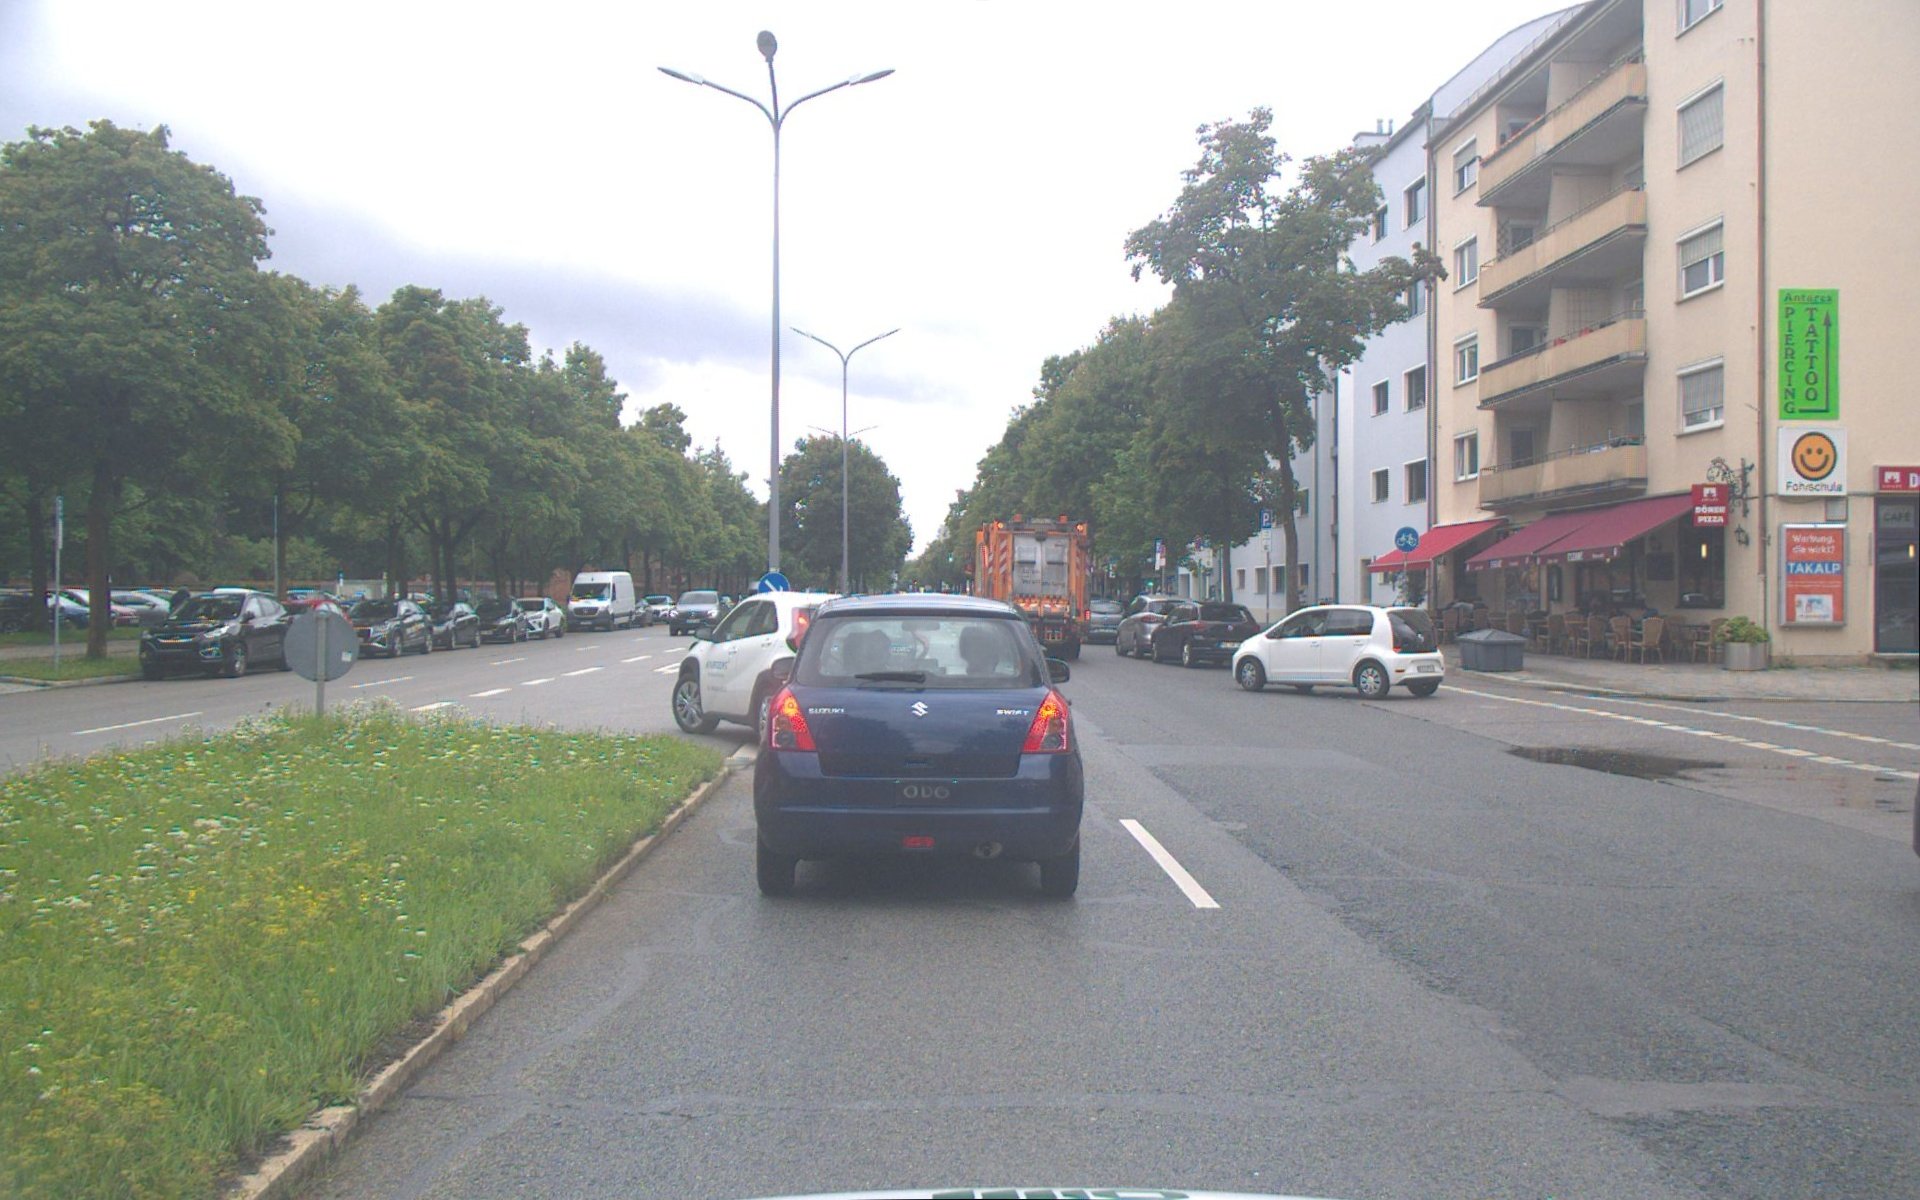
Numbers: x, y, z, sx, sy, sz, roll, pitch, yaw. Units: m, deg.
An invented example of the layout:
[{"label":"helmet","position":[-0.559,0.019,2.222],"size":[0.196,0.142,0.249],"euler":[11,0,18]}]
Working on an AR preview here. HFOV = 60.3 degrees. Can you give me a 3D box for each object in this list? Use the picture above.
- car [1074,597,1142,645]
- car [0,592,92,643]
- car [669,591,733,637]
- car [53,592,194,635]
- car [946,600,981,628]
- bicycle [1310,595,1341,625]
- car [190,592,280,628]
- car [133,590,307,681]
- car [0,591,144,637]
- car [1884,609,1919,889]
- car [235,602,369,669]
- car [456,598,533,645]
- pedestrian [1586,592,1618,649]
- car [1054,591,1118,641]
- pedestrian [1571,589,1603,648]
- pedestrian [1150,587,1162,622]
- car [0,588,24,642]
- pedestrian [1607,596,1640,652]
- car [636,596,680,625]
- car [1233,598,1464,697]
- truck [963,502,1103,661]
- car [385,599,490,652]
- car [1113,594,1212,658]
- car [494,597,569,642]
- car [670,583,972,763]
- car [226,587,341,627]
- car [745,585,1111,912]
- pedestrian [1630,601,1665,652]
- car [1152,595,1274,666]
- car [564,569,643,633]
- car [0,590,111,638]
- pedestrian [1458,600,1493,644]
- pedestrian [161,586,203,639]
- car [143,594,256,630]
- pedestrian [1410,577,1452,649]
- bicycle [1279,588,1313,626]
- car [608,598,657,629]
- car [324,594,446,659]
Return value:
[{"label":"car","position":[4.922,0.681,55.424],"size":[1.793,1.549,3.768],"euler":[0,0,-3]},{"label":"car","position":[-27.908,0.494,48.312],"size":[4.053,1.467,1.998],"euler":[0,0,-4]},{"label":"car","position":[-9.689,0.491,62.145],"size":[1.784,1.617,4.500],"euler":[0,1,-1]},{"label":"car","position":[-29.133,0.469,57.700],"size":[3.911,1.467,1.997],"euler":[0,0,-7]},{"label":"car","position":[0.171,0.765,92.391],"size":[1.793,1.549,3.768],"euler":[0,0,-3]},{"label":"bicycle","position":[13.372,0.346,60.596],"size":[0.609,1.065,2.195],"euler":[0,0,-1]},{"label":"car","position":[-42.597,0.563,97.235],"size":[4.415,2.070,1.999],"euler":[0,0,-2]},{"label":"car","position":[-14.921,0.714,33.618],"size":[1.785,1.729,4.237],"euler":[0,-1,-3]},{"label":"car","position":[-29.150,0.444,54.155],"size":[3.911,1.467,1.997],"euler":[0,0,-7]},{"label":"car","position":[6.033,0.835,7.291],"size":[1.611,1.503,3.955],"euler":[1,1,-2]},{"label":"car","position":[-15.430,0.830,38.982],"size":[1.785,1.505,3.807],"euler":[0,-1,-3]},{"label":"car","position":[-15.628,0.689,55.694],"size":[1.786,1.473,3.995],"euler":[-2,0,-6]},{"label":"pedestrian","position":[14.531,0.459,37.458],"size":[0.527,1.290,0.486],"euler":[0,0,-3]},{"label":"car","position":[4.616,0.573,61.009],"size":[1.793,1.776,4.506],"euler":[0,0,-3]},{"label":"pedestrian","position":[14.639,0.428,38.603],"size":[0.527,1.362,0.552],"euler":[0,0,-3]},{"label":"pedestrian","position":[10.003,0.207,84.369],"size":[0.489,1.763,0.732],"euler":[-2,0,-2]},{"label":"car","position":[-28.180,0.408,45.299],"size":[3.911,1.467,1.997],"euler":[0,0,-7]},{"label":"pedestrian","position":[14.627,0.525,36.475],"size":[0.527,1.235,0.487],"euler":[0,0,-2]},{"label":"car","position":[-16.460,0.598,90.203],"size":[1.820,1.517,4.139],"euler":[0,-1,-3]},{"label":"car","position":[6.340,0.725,27.192],"size":[1.678,1.516,3.381],"euler":[0,0,-43]},{"label":"truck","position":[1.685,-0.456,44.716],"size":[2.979,3.619,13.672],"euler":[0,0,-1]},{"label":"car","position":[-15.480,0.730,49.241],"size":[1.784,1.434,4.000],"euler":[-2,0,1]},{"label":"car","position":[5.162,0.636,42.688],"size":[1.793,1.549,4.521],"euler":[0,0,-3]},{"label":"car","position":[-15.719,0.734,60.859],"size":[1.785,1.554,4.296],"euler":[-2,-1,-3]},{"label":"car","position":[-1.507,0.635,16.589],"size":[1.800,1.580,3.689],"euler":[0,0,-27]},{"label":"car","position":[-27.417,0.281,67.152],"size":[3.905,1.598,1.814],"euler":[0,0,0]},{"label":"car","position":[-0.177,0.691,9.780],"size":[1.717,1.531,3.999],"euler":[0,0,-1]},{"label":"pedestrian","position":[14.506,0.555,34.909],"size":[0.527,1.072,0.487],"euler":[0,0,-2]},{"label":"car","position":[5.684,0.652,37.540],"size":[1.794,1.499,3.883],"euler":[0,0,-6]},{"label":"car","position":[-16.054,0.006,74.862],"size":[2.096,2.690,7.103],"euler":[-1,1,-1]},{"label":"car","position":[-28.657,0.422,51.048],"size":[3.911,1.467,1.997],"euler":[0,0,-7]},{"label":"pedestrian","position":[13.839,0.592,44.399],"size":[0.728,1.183,0.646],"euler":[0,0,-2]},{"label":"pedestrian","position":[-22.584,0.356,48.020],"size":[0.778,1.521,0.856],"euler":[0,0,0]},{"label":"car","position":[-32.084,0.492,69.889],"size":[3.911,1.467,1.997],"euler":[0,0,-7]},{"label":"pedestrian","position":[12.996,0.352,45.626],"size":[0.855,1.963,0.757],"euler":[0,0,-18]},{"label":"bicycle","position":[13.153,0.258,64.746],"size":[0.688,1.432,2.592],"euler":[-2,0,-1]},{"label":"car","position":[-16.408,0.694,83.001],"size":[1.820,1.517,4.249],"euler":[0,-1,-3]},{"label":"car","position":[-15.125,0.657,43.710],"size":[1.784,1.627,4.112],"euler":[0,0,0]}]
